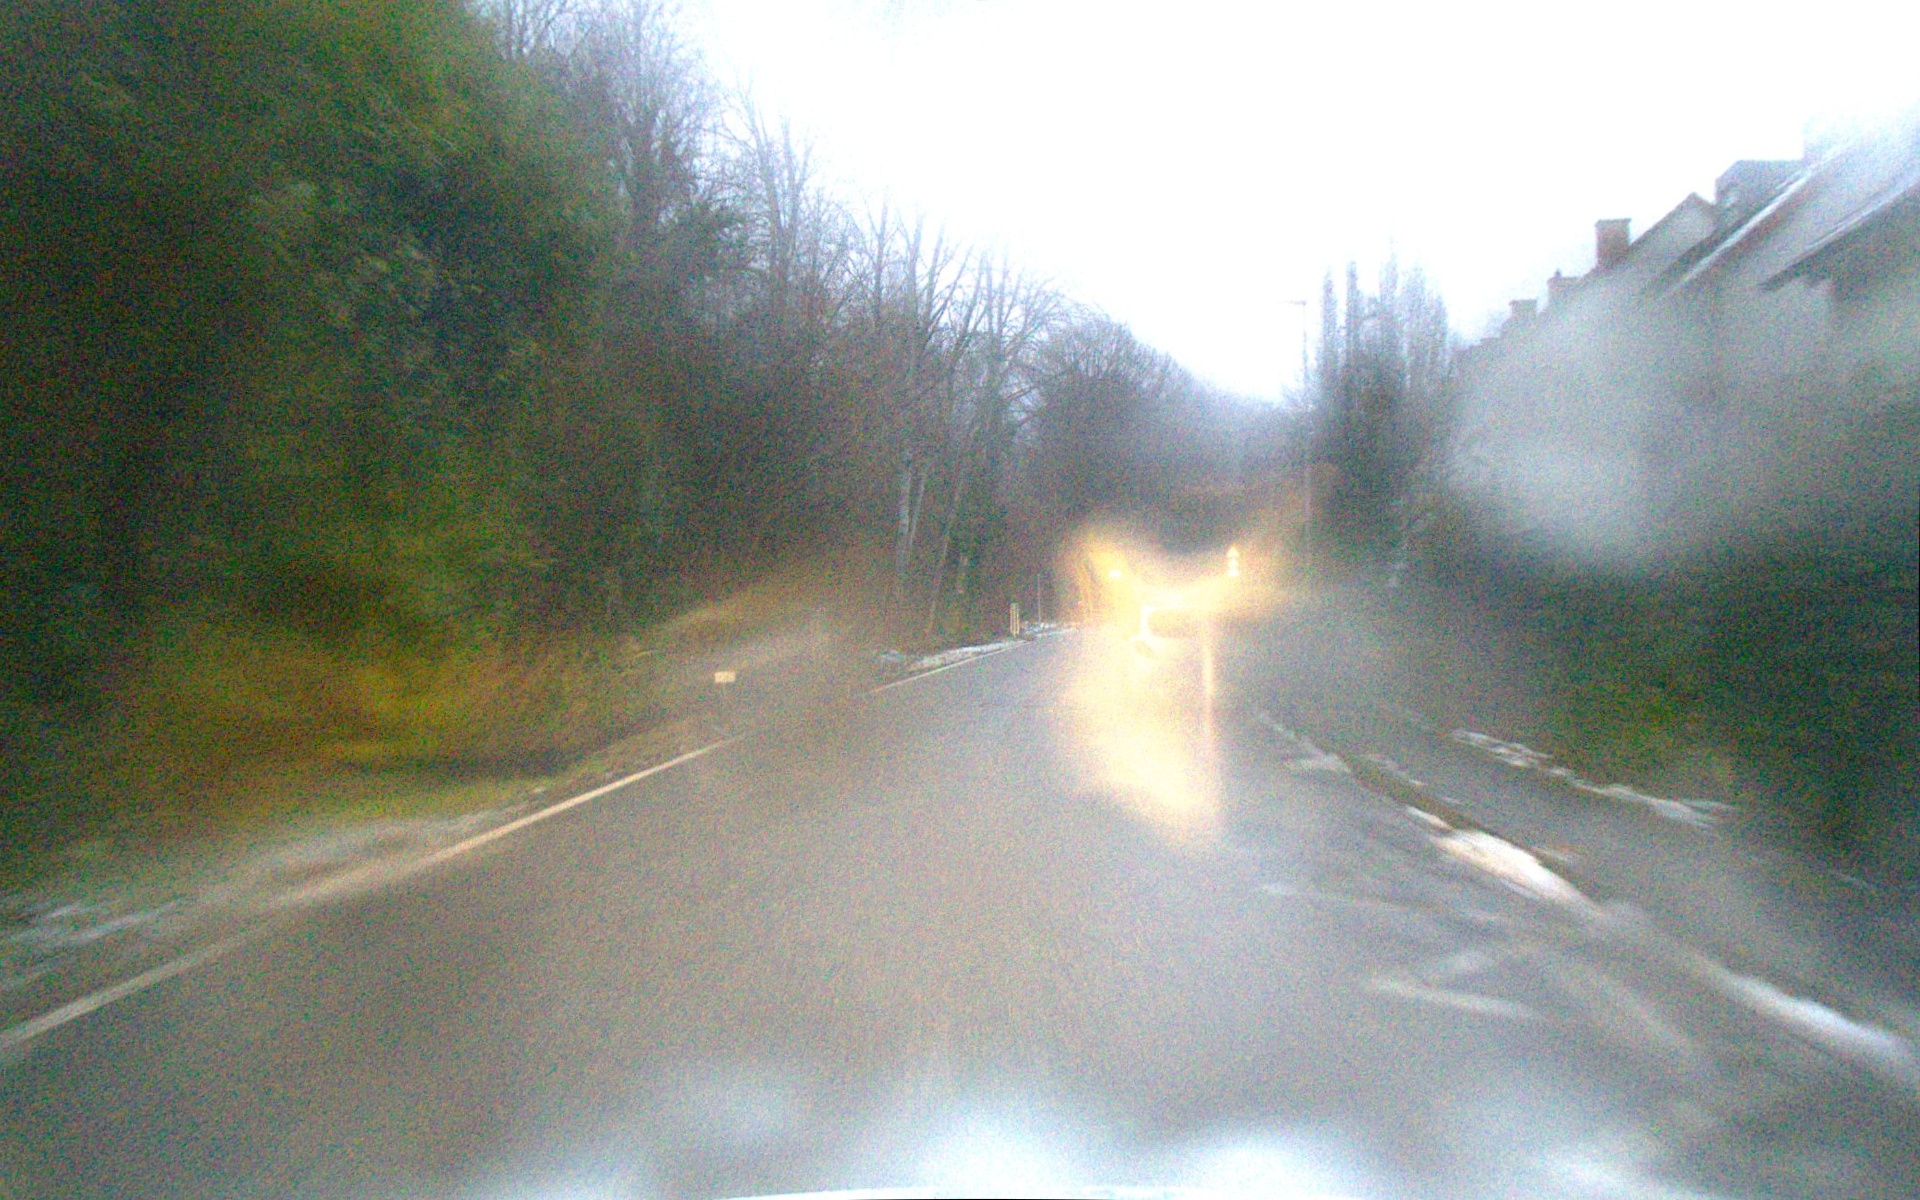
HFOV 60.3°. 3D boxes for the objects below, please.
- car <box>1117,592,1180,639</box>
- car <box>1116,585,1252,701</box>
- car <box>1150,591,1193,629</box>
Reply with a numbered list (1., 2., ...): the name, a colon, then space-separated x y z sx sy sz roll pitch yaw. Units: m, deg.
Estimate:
1. car: 7.652 0.600 66.909 1.892 1.812 4.003 -1 0 16
2. car: 3.176 0.579 24.031 1.668 1.532 4.026 0 0 4
3. car: 10.559 0.457 82.508 1.654 1.805 3.864 -1 0 14
